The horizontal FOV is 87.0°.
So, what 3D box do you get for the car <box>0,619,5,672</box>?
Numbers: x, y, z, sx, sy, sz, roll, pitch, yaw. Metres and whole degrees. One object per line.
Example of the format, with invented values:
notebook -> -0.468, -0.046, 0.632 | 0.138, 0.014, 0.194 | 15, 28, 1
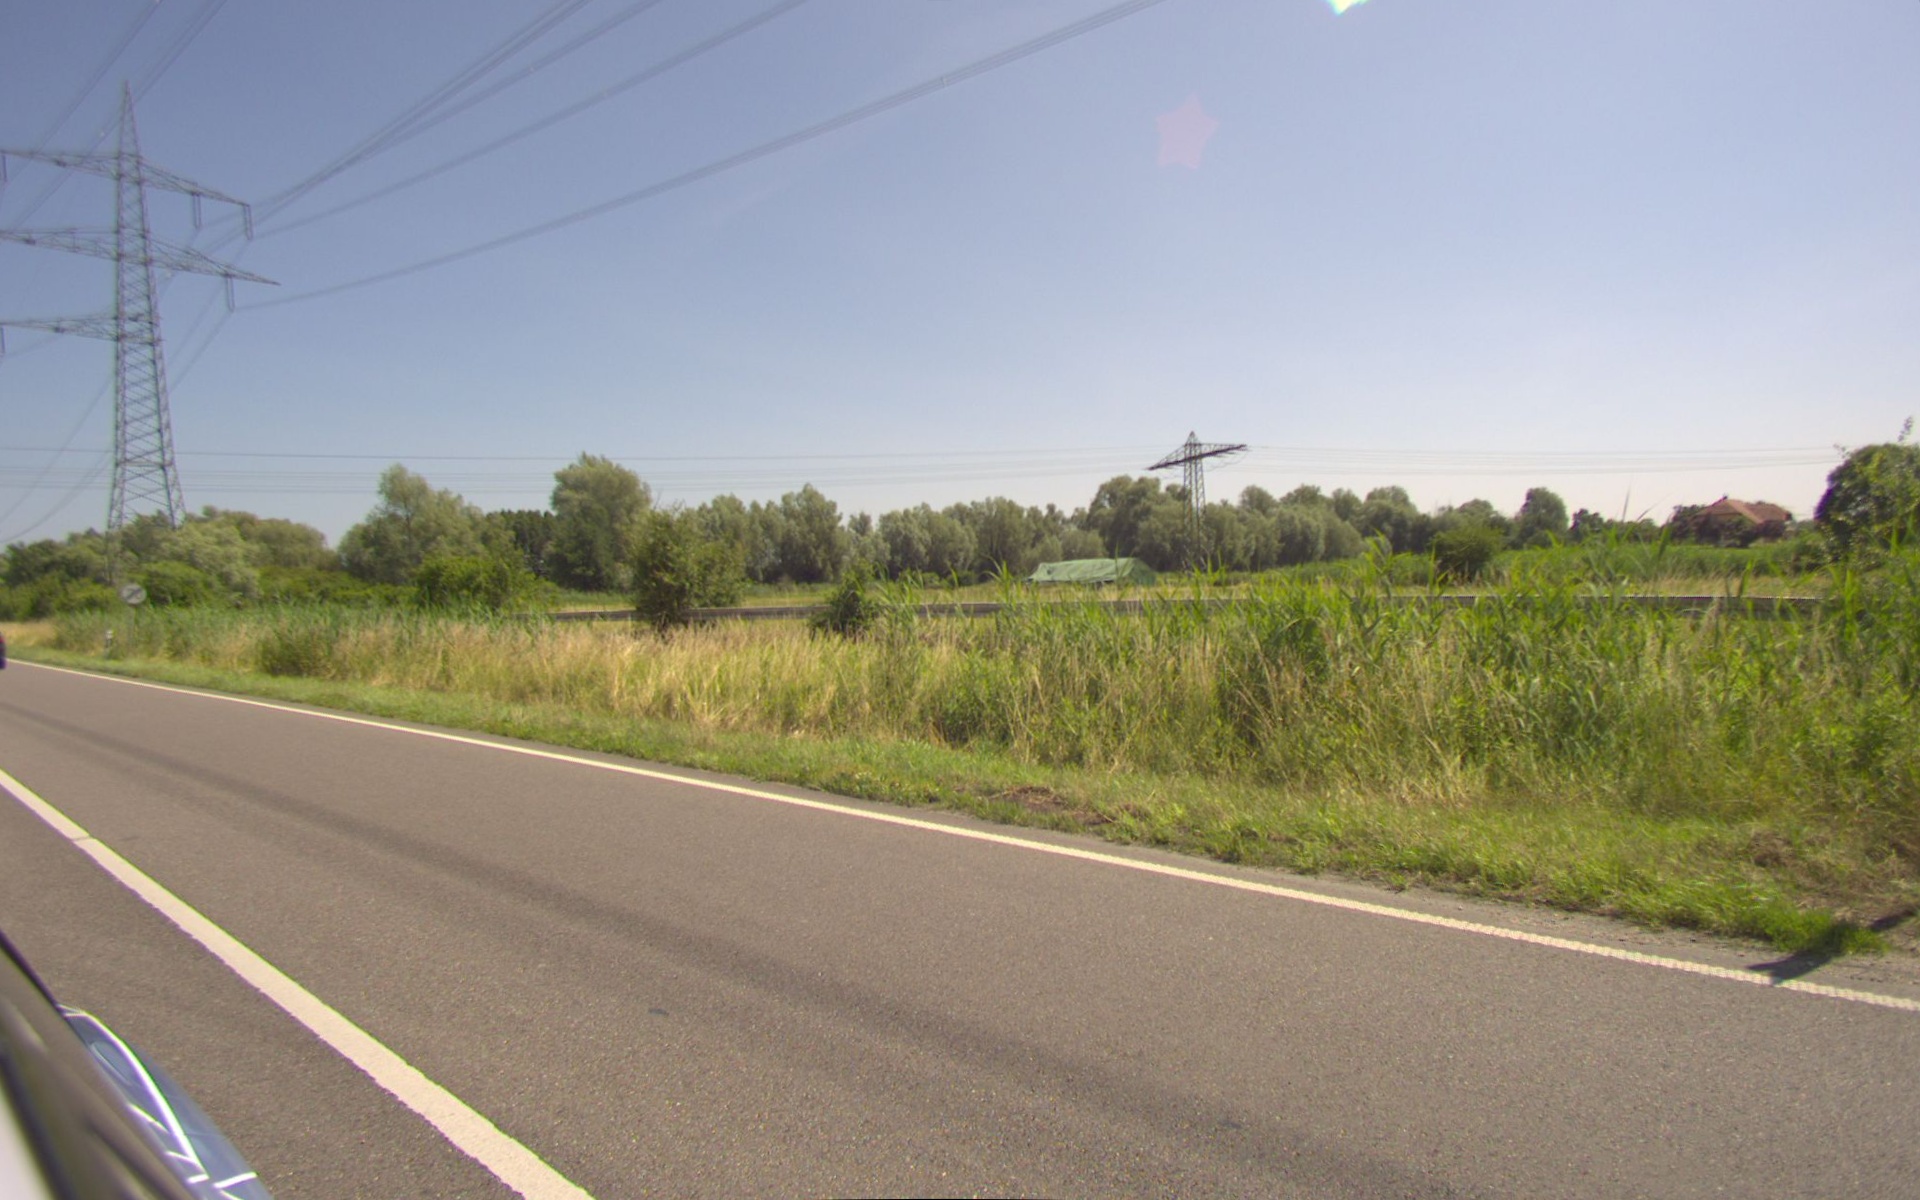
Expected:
car -> -28.560, 1.310, 28.701 | 3.998, 1.475, 1.763 | -1, 1, 41
